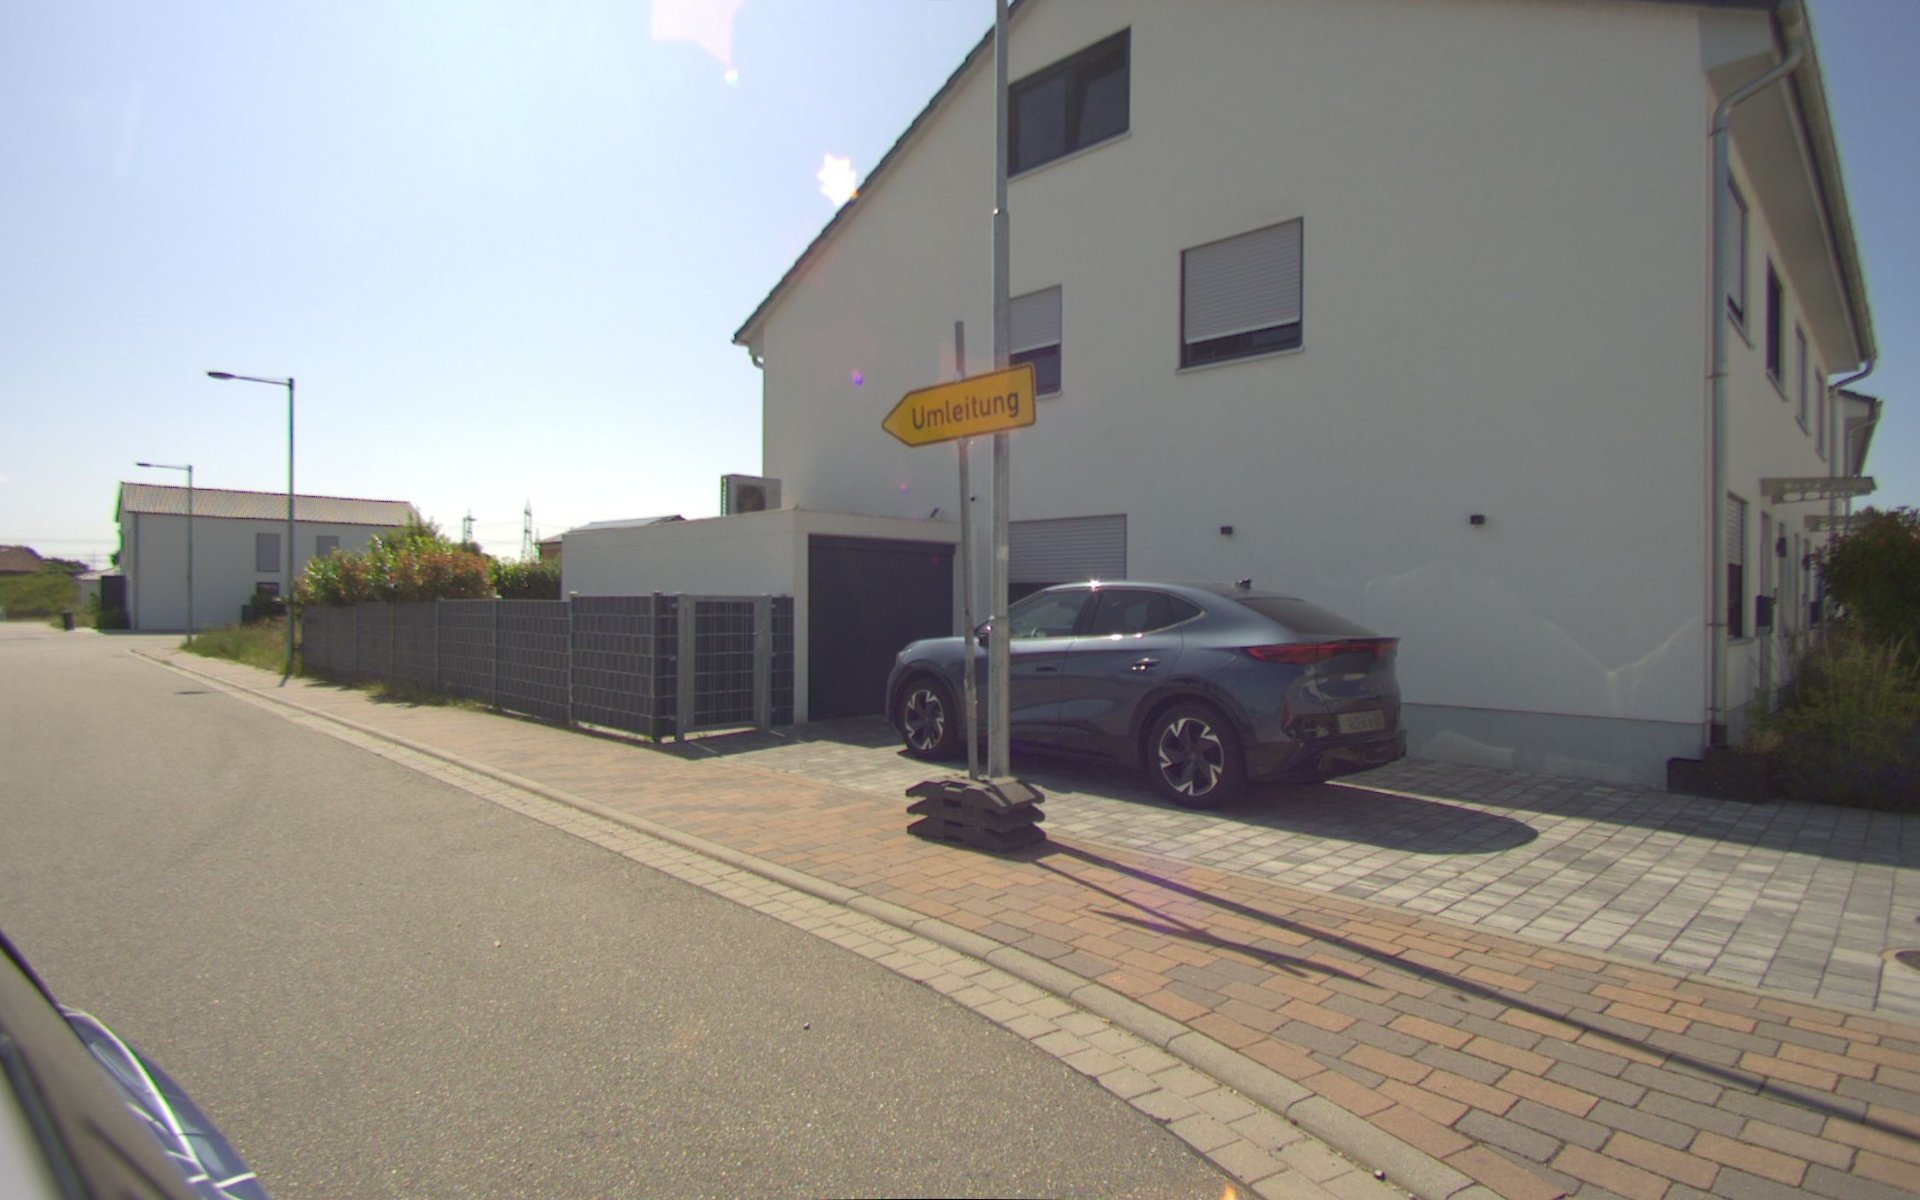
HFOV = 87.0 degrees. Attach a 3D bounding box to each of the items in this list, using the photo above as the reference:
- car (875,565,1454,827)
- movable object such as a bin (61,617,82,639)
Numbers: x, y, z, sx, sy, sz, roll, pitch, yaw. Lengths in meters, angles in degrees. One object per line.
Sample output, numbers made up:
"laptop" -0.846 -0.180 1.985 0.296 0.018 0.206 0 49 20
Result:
"car" 1.424 0.612 8.313 1.931 1.570 4.355 2 -2 -44
"movable object such as a bin" -45.598 1.443 51.931 0.795 1.107 0.673 1 -1 -41
